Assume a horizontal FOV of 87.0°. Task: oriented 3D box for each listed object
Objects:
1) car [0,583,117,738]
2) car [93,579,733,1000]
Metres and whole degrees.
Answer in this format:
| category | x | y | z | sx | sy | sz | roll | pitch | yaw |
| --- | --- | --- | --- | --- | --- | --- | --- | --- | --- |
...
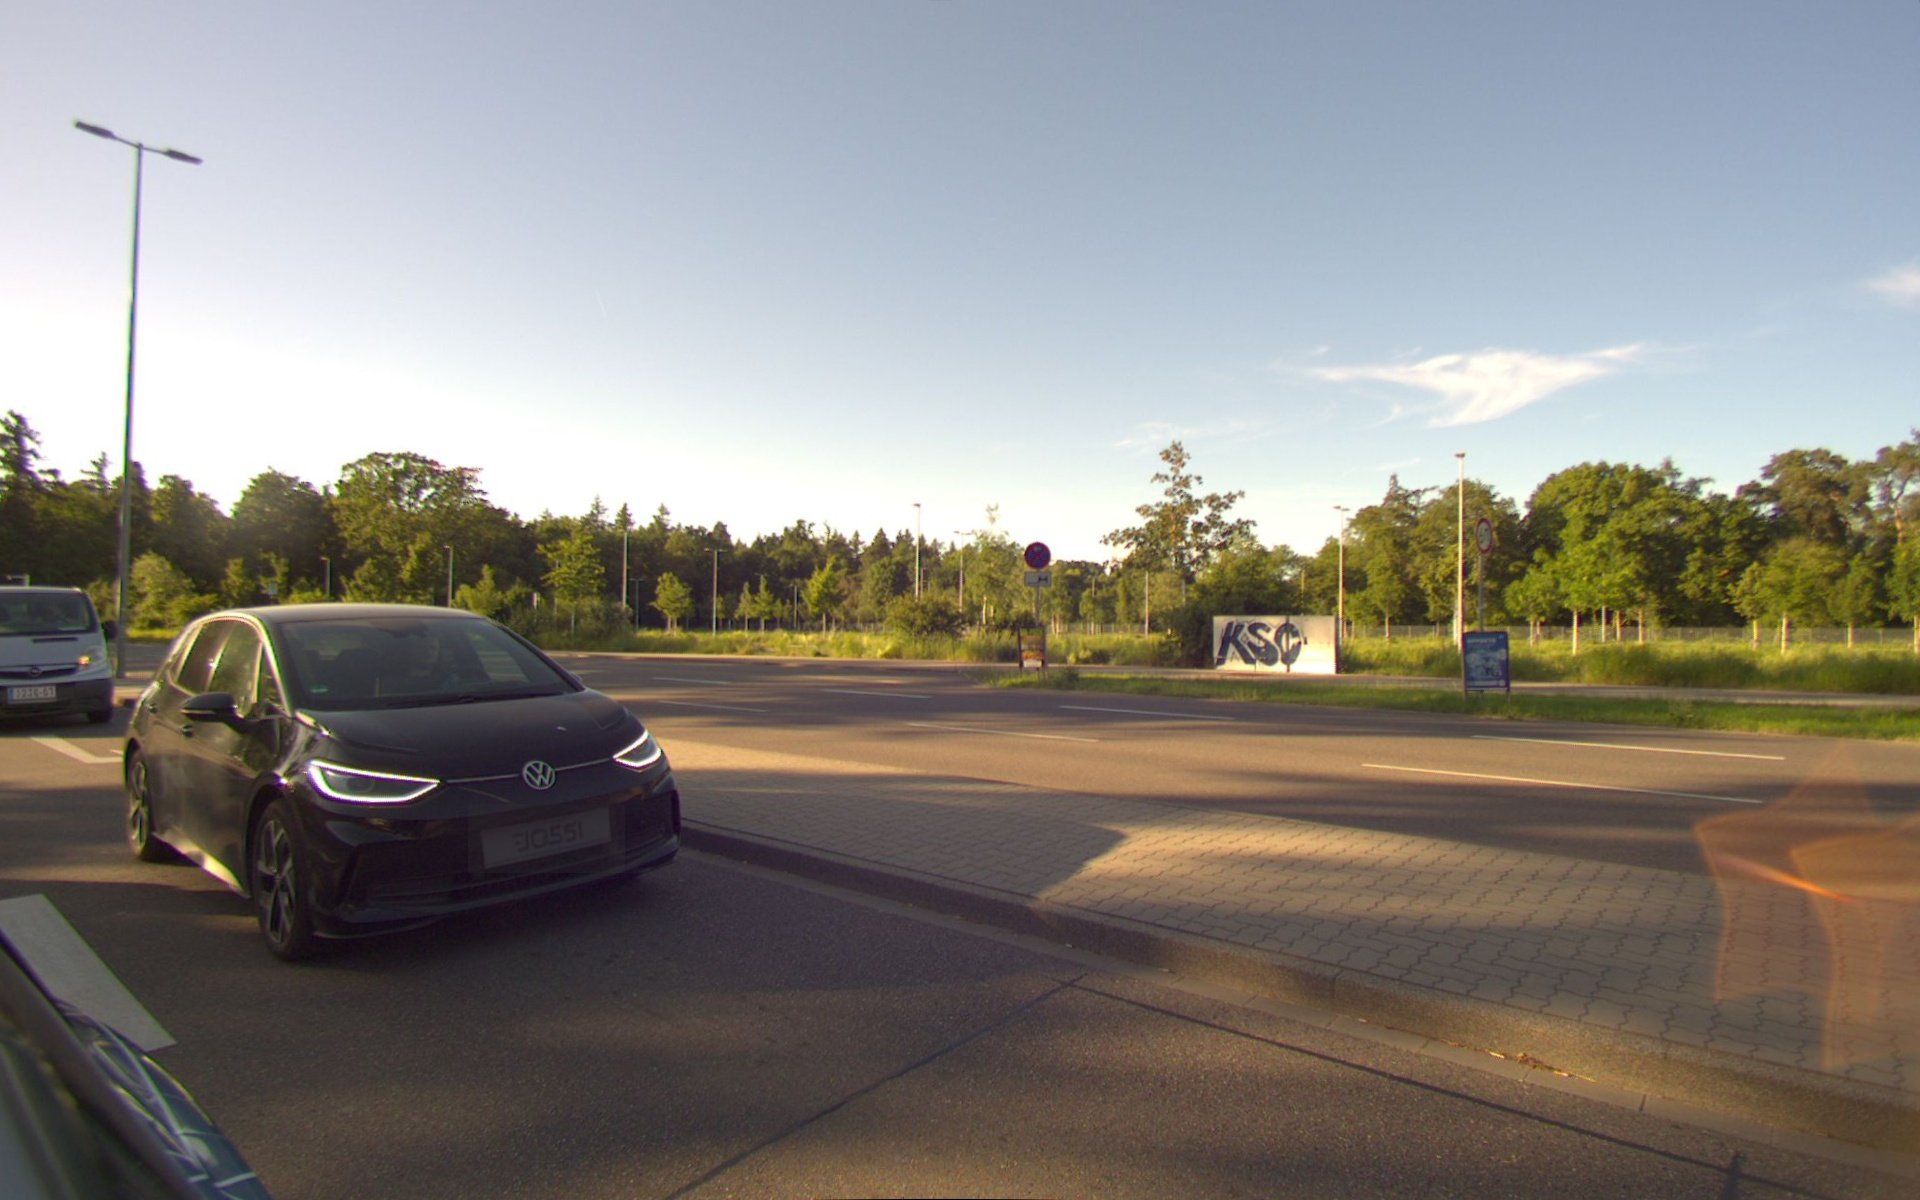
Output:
| category | x | y | z | sx | sy | sz | roll | pitch | yaw |
| --- | --- | --- | --- | --- | --- | --- | --- | --- | --- |
| car | -14.046 | 0.836 | 14.745 | 5.044 | 1.977 | 1.859 | -2 | -1 | 40 |
| car | -3.278 | 0.708 | 5.729 | 3.997 | 1.548 | 1.859 | -1 | 0 | 40 |
